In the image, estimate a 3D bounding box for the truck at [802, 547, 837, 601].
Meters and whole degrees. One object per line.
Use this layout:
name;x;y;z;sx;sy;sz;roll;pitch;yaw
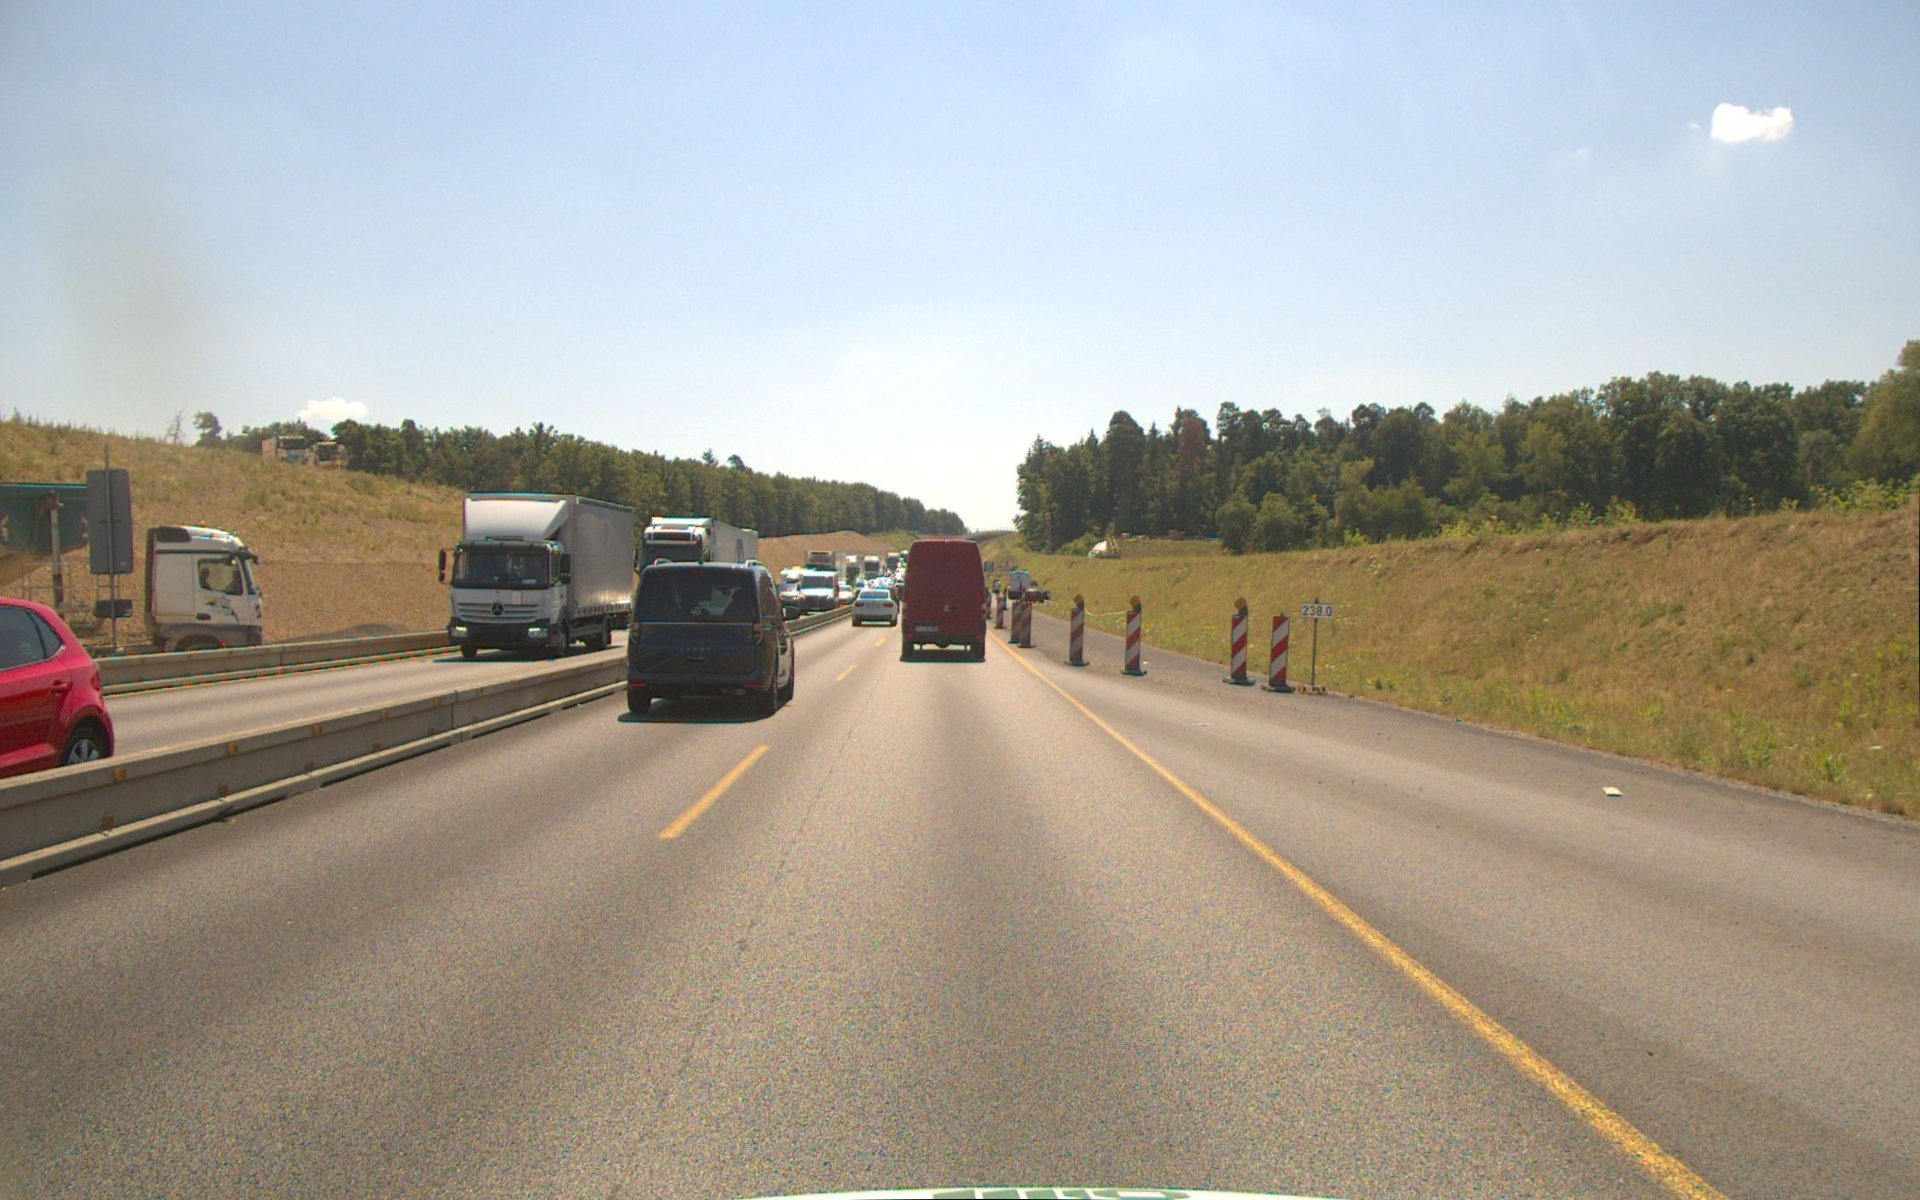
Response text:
truck;-11.587;-2.143;136.723;2.441;4.271;5.911;-1;0;-1

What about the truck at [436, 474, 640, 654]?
truck;-9.891;-0.754;39.928;2.591;3.781;9.480;1;0;-1

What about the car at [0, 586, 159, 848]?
car;-6.321;0.664;9.389;1.594;1.510;4.053;1;0;-1

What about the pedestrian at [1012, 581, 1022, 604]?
pedestrian;4.689;-0.601;136.016;0.631;1.860;0.555;1;1;-22

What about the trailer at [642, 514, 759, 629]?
trailer;-10.332;-1.042;67.413;2.796;4.165;13.649;-1;0;-1

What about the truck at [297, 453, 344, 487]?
truck;-64.012;-12.932;165.457;2.277;2.797;8.793;1;0;-36

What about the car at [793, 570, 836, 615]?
car;-7.849;-0.455;89.694;1.953;2.332;5.342;1;1;-2

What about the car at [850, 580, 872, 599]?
car;-8.568;-0.902;143.303;1.654;1.642;4.592;1;0;-1

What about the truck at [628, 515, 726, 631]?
truck;-10.423;-0.966;61.347;2.791;4.088;4.858;-1;0;-1

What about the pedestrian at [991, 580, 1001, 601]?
pedestrian;3.258;-0.879;151.042;0.711;1.860;0.717;1;0;-16

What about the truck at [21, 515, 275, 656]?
truck;-18.474;-0.283;37.704;4.991;3.016;2.562;1;0;-30

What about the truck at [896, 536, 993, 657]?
truck;-0.423;-0.073;39.316;2.110;2.635;5.331;1;0;-2

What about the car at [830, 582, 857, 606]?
car;-7.937;-0.400;113.106;1.654;1.528;3.975;1;0;-1

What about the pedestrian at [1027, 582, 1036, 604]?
pedestrian;6.046;-0.599;139.711;0.613;1.860;0.640;1;1;-13

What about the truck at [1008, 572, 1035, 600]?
truck;5.814;-1.350;154.635;2.084;2.499;5.930;1;1;6

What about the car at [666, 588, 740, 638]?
car;-7.964;0.403;51.577;1.820;1.467;4.498;1;0;-3

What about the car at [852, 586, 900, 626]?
car;-3.442;0.241;68.370;1.794;1.548;3.960;1;0;-1

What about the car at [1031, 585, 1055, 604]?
car;6.833;-0.492;136.599;1.620;1.451;4.545;-2;1;0

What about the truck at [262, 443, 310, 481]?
truck;-64.225;-13.096;157.562;2.336;2.949;8.261;1;0;-36

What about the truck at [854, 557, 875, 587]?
truck;-13.647;-4.006;236.900;2.712;4.114;4.943;1;0;0

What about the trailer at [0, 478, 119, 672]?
trailer;-23.610;-0.583;38.550;8.180;4.170;2.797;1;0;27

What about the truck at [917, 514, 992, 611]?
truck;-0.440;-2.192;104.628;4.311;5.592;16.600;1;0;-1

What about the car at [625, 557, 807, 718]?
car;-3.066;0.401;21.682;1.716;1.856;4.782;1;1;-1

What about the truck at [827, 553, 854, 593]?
truck;-12.731;-2.860;176.402;2.539;4.124;5.148;1;1;-2
